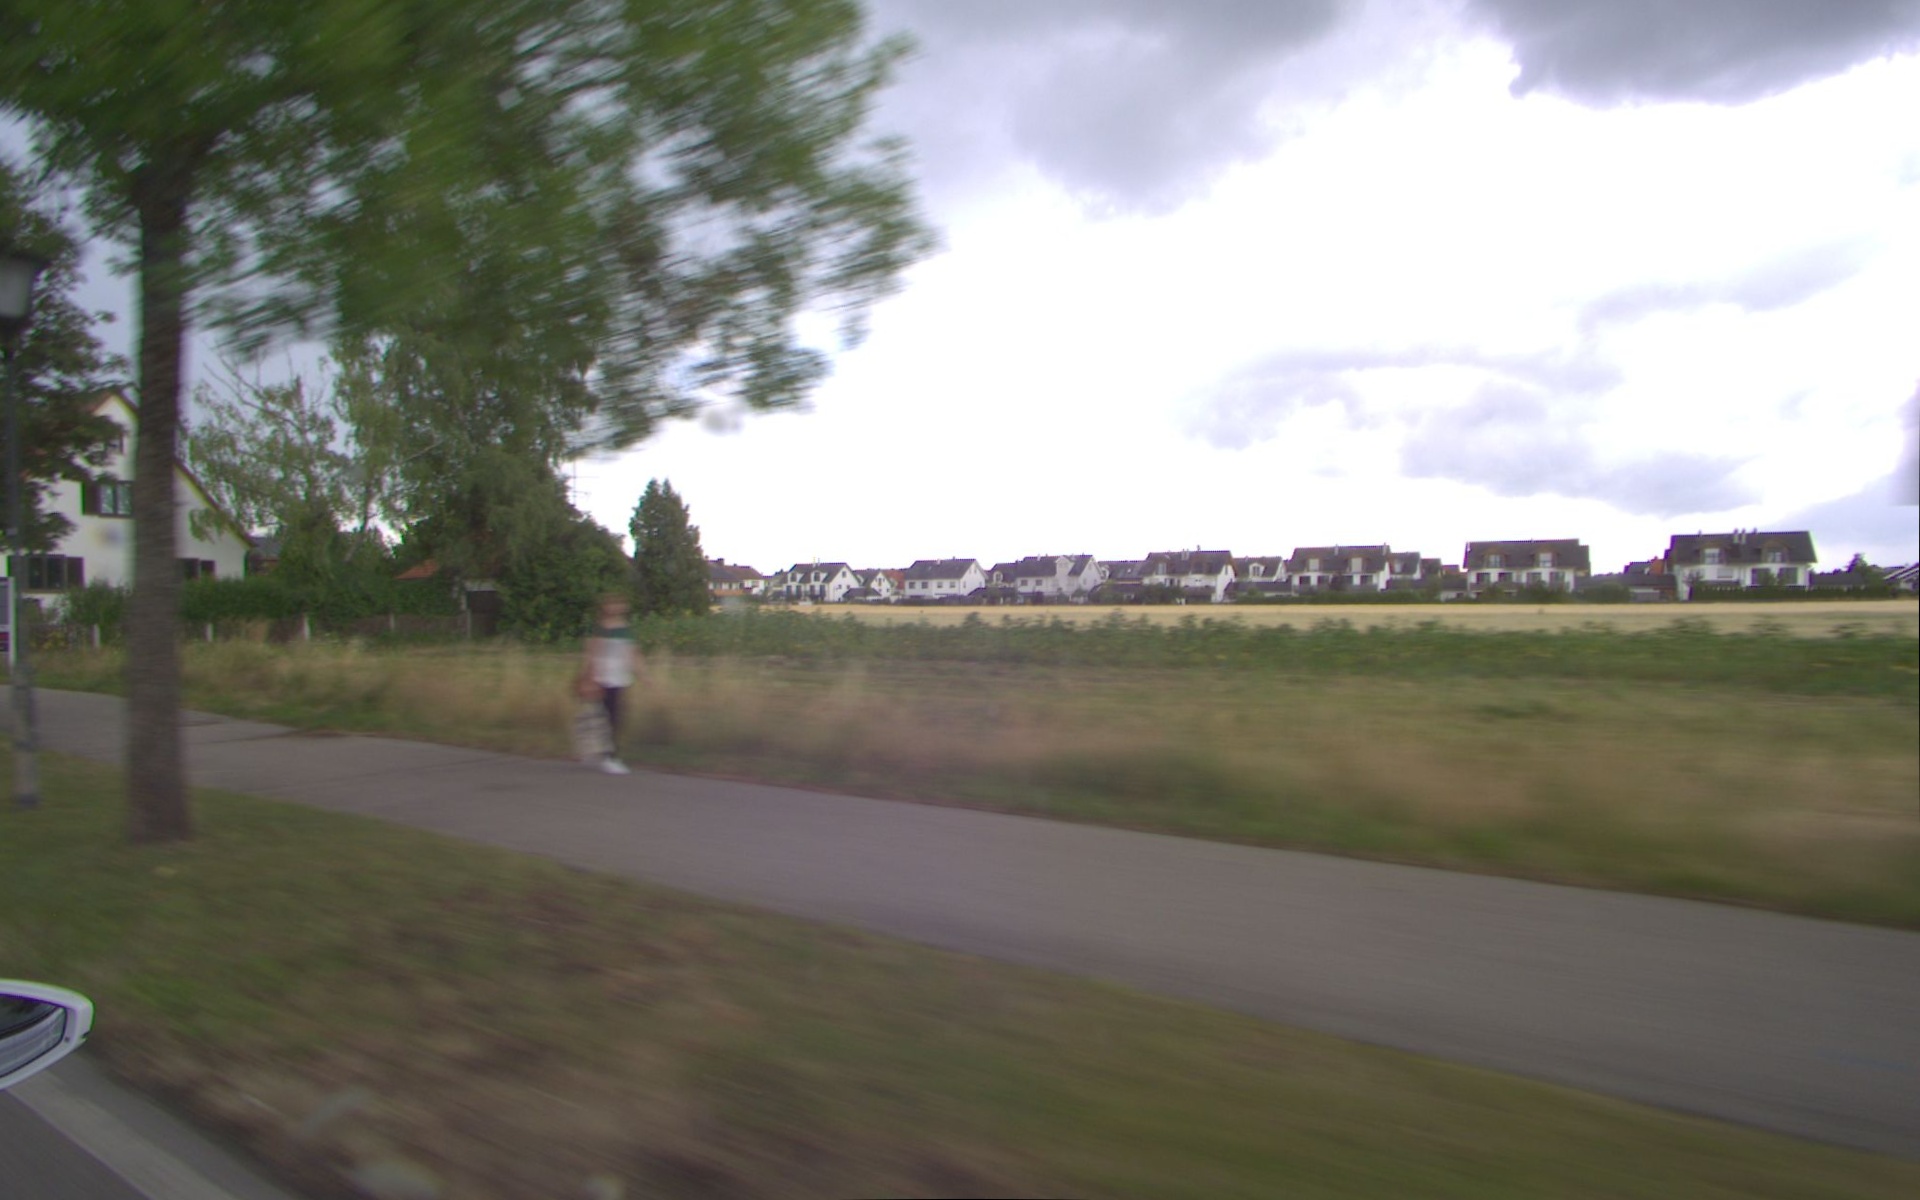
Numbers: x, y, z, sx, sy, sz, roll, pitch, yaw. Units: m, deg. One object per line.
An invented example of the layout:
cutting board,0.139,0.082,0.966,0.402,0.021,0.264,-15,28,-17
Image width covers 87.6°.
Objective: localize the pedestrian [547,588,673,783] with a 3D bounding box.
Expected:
pedestrian,-3.406,0.792,9.753,0.859,1.778,0.834,0,0,38
